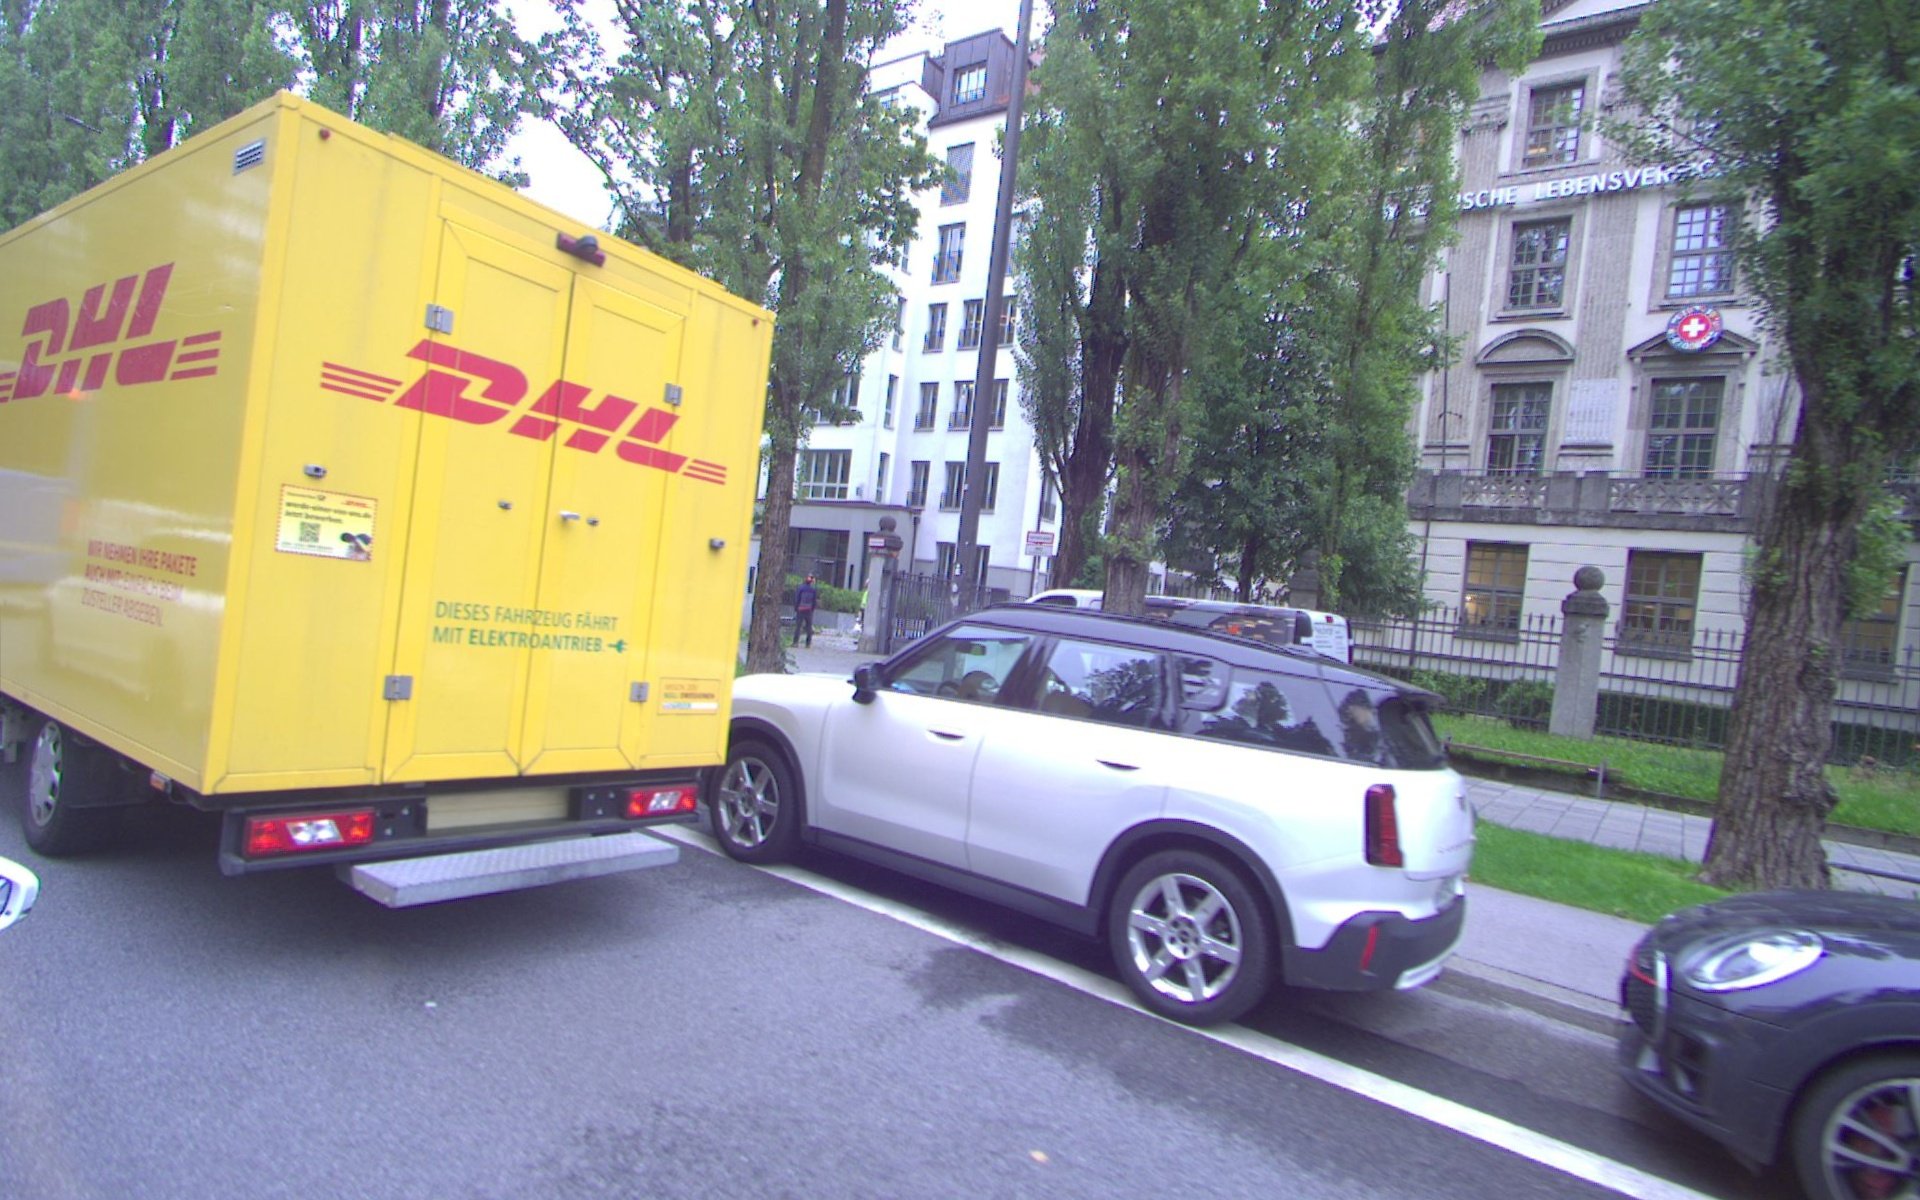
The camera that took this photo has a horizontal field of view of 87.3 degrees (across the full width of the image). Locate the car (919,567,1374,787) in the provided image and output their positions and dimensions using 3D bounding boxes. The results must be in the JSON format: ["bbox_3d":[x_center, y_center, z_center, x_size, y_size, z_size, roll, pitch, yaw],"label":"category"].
[{"bbox_3d":[2.227,0.845,12.919,5.241,1.949,1.994,6,0,36],"label":"car"}]

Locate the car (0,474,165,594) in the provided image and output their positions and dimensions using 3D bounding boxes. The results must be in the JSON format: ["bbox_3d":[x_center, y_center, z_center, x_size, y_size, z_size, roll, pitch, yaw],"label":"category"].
[{"bbox_3d":[-16.891,-1.286,18.897,4.164,1.794,1.835,7,-2,36],"label":"car"}]

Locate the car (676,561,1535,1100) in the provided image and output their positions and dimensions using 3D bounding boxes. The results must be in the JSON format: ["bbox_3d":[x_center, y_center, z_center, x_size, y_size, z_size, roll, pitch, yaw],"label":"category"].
[{"bbox_3d":[0.586,0.852,5.427,4.082,1.600,1.782,7,-2,36],"label":"car"}]

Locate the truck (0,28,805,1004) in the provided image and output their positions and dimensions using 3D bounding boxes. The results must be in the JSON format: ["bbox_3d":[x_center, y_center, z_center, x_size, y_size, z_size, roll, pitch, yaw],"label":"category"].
[{"bbox_3d":[-4.497,-0.483,6.058,7.218,2.934,2.328,7,0,35],"label":"truck"}]

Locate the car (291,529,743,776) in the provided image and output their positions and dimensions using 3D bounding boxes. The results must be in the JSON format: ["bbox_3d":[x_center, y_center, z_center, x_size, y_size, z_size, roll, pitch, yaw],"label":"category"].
[{"bbox_3d":[-4.066,0.342,8.917,4.258,1.514,1.725,7,0,37],"label":"car"}]

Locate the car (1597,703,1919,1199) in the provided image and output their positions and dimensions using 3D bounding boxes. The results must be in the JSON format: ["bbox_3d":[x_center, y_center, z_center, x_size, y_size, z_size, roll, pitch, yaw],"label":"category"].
[{"bbox_3d":[4.246,1.337,2.705,4.084,1.462,1.635,6,-2,36],"label":"car"}]

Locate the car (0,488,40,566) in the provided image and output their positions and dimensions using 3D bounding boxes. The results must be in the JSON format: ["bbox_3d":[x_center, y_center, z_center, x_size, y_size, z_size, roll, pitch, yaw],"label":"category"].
[{"bbox_3d":[-22.671,-1.843,22.908,4.024,1.614,1.678,7,-1,37],"label":"car"}]

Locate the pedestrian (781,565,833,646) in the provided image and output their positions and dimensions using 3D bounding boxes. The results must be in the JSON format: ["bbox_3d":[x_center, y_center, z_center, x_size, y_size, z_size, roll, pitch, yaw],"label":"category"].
[{"bbox_3d":[-3.807,0.133,24.968,0.928,1.889,0.768,6,1,-25],"label":"pedestrian"}]
